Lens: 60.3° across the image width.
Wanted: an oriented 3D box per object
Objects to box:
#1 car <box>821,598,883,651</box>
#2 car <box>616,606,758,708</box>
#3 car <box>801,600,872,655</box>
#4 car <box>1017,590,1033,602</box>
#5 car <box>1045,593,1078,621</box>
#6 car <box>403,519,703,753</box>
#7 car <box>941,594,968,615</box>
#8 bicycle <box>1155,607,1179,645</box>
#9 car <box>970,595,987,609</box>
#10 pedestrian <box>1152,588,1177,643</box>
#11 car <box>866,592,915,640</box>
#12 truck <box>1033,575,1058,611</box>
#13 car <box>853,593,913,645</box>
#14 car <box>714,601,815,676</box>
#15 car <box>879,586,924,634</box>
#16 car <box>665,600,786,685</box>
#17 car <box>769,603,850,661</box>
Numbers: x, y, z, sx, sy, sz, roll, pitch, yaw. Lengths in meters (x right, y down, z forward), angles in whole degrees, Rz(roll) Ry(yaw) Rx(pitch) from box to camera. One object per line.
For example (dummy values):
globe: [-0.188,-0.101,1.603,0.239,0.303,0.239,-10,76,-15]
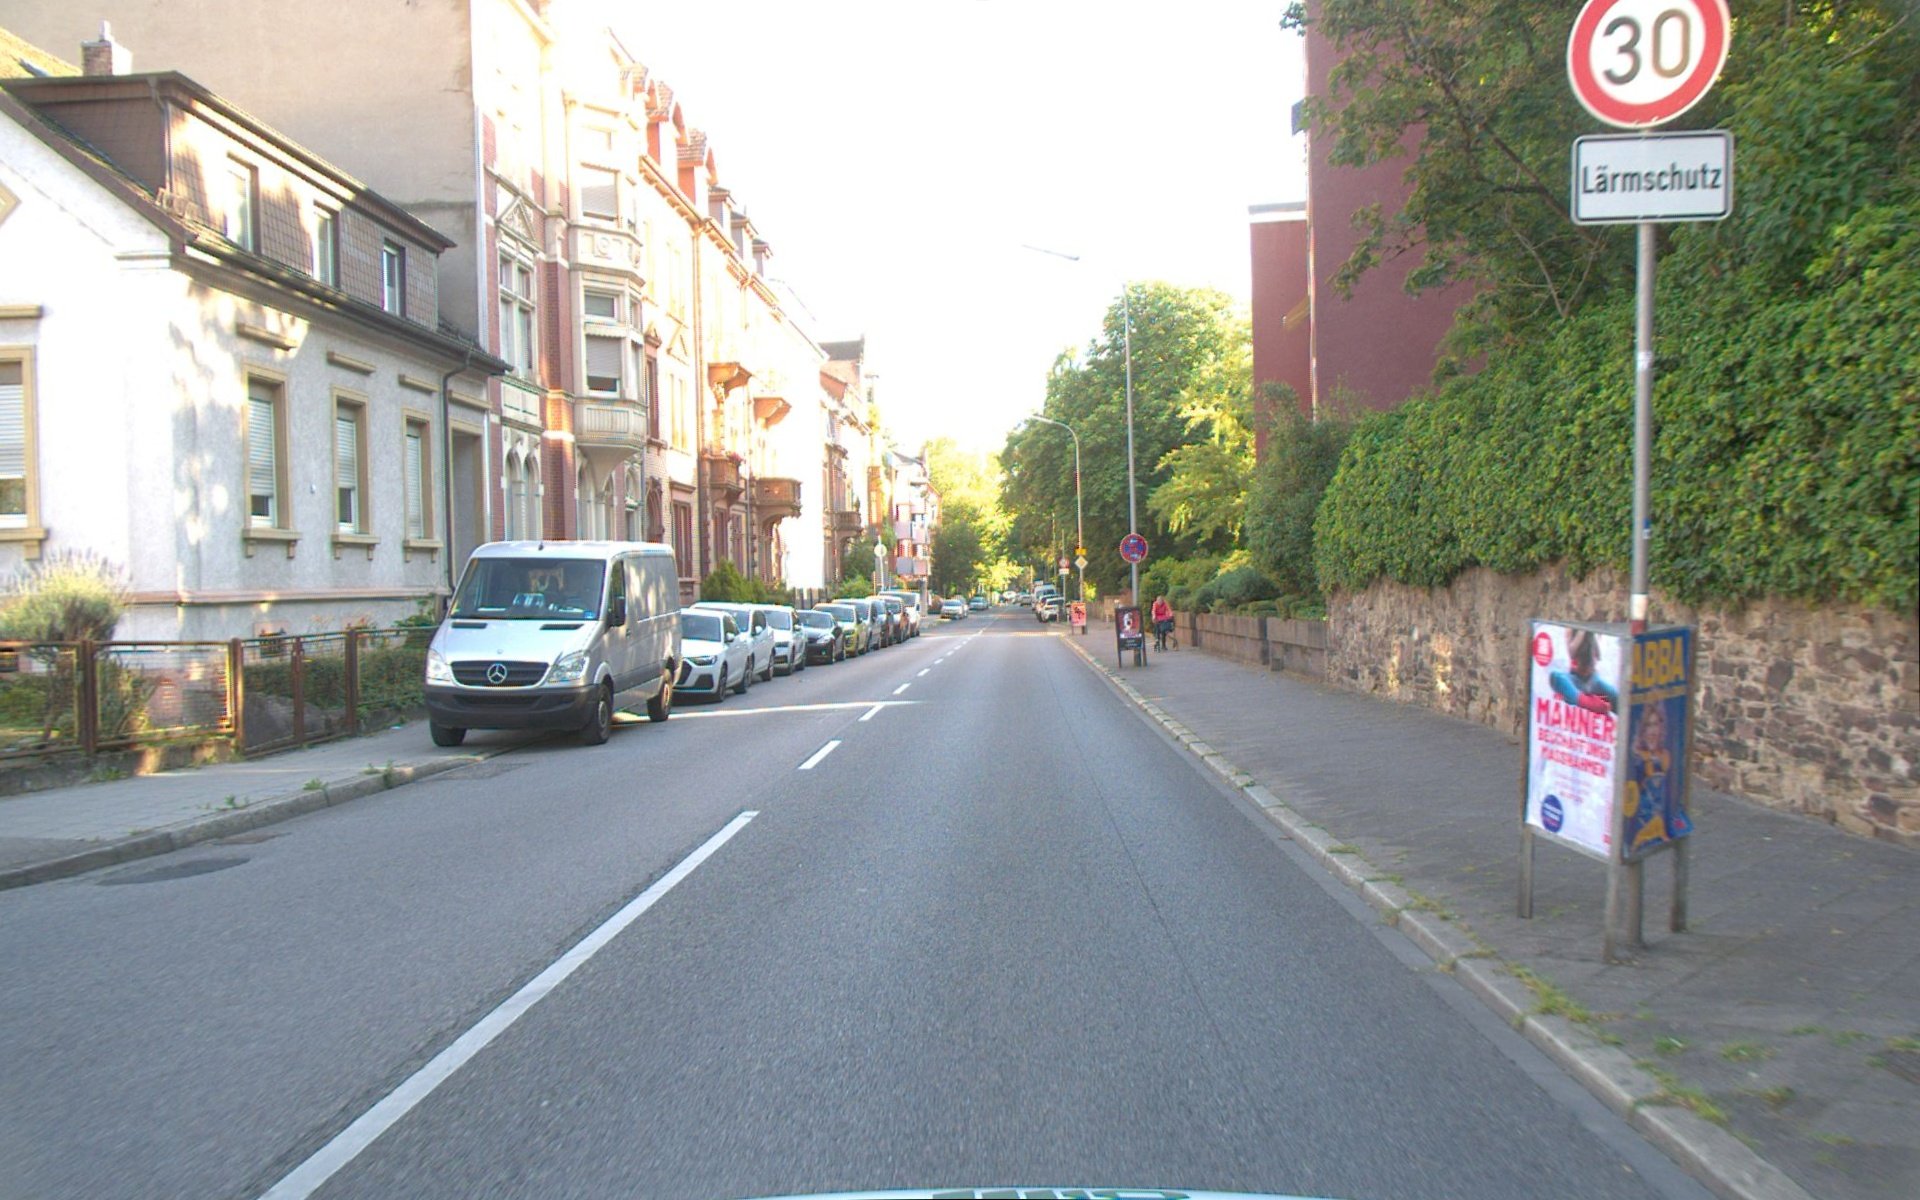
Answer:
car: [-3.432,0.752,52.918,1.667,1.611,3.635,0,0,1]
car: [-4.462,0.891,27.510,1.667,1.529,3.824,0,0,1]
car: [-3.536,0.802,47.909,1.667,1.529,4.072,0,-1,1]
car: [9.021,-0.568,231.002,1.953,1.517,4.470,-2,1,-1]
car: [6.248,0.421,102.199,1.952,1.544,4.002,-2,1,3]
car: [-4.839,0.362,20.753,2.025,2.503,6.016,0,0,2]
car: [-0.415,0.335,134.840,1.952,1.517,4.472,-2,1,2]
bicycle: [5.382,0.671,42.959,0.555,0.987,0.492,0,1,-2]
car: [2.295,0.231,201.693,1.952,1.517,4.472,-2,1,2]
pedestrian: [5.387,0.405,43.536,0.585,1.427,0.668,0,1,0]
car: [-2.628,0.582,63.151,1.667,1.769,3.857,0,0,1]
truck: [7.436,-0.655,143.465,1.952,2.947,4.472,-2,1,2]
car: [-2.668,0.627,57.943,1.667,1.737,4.442,0,0,3]
car: [-4.372,0.820,37.613,1.667,1.563,4.550,0,0,1]
car: [-2.559,0.423,73.544,1.756,2.045,4.698,0,0,1]
car: [-4.582,0.791,32.842,1.667,1.529,4.022,0,0,2]
car: [-3.848,0.805,42.836,1.667,1.390,3.860,0,0,1]
